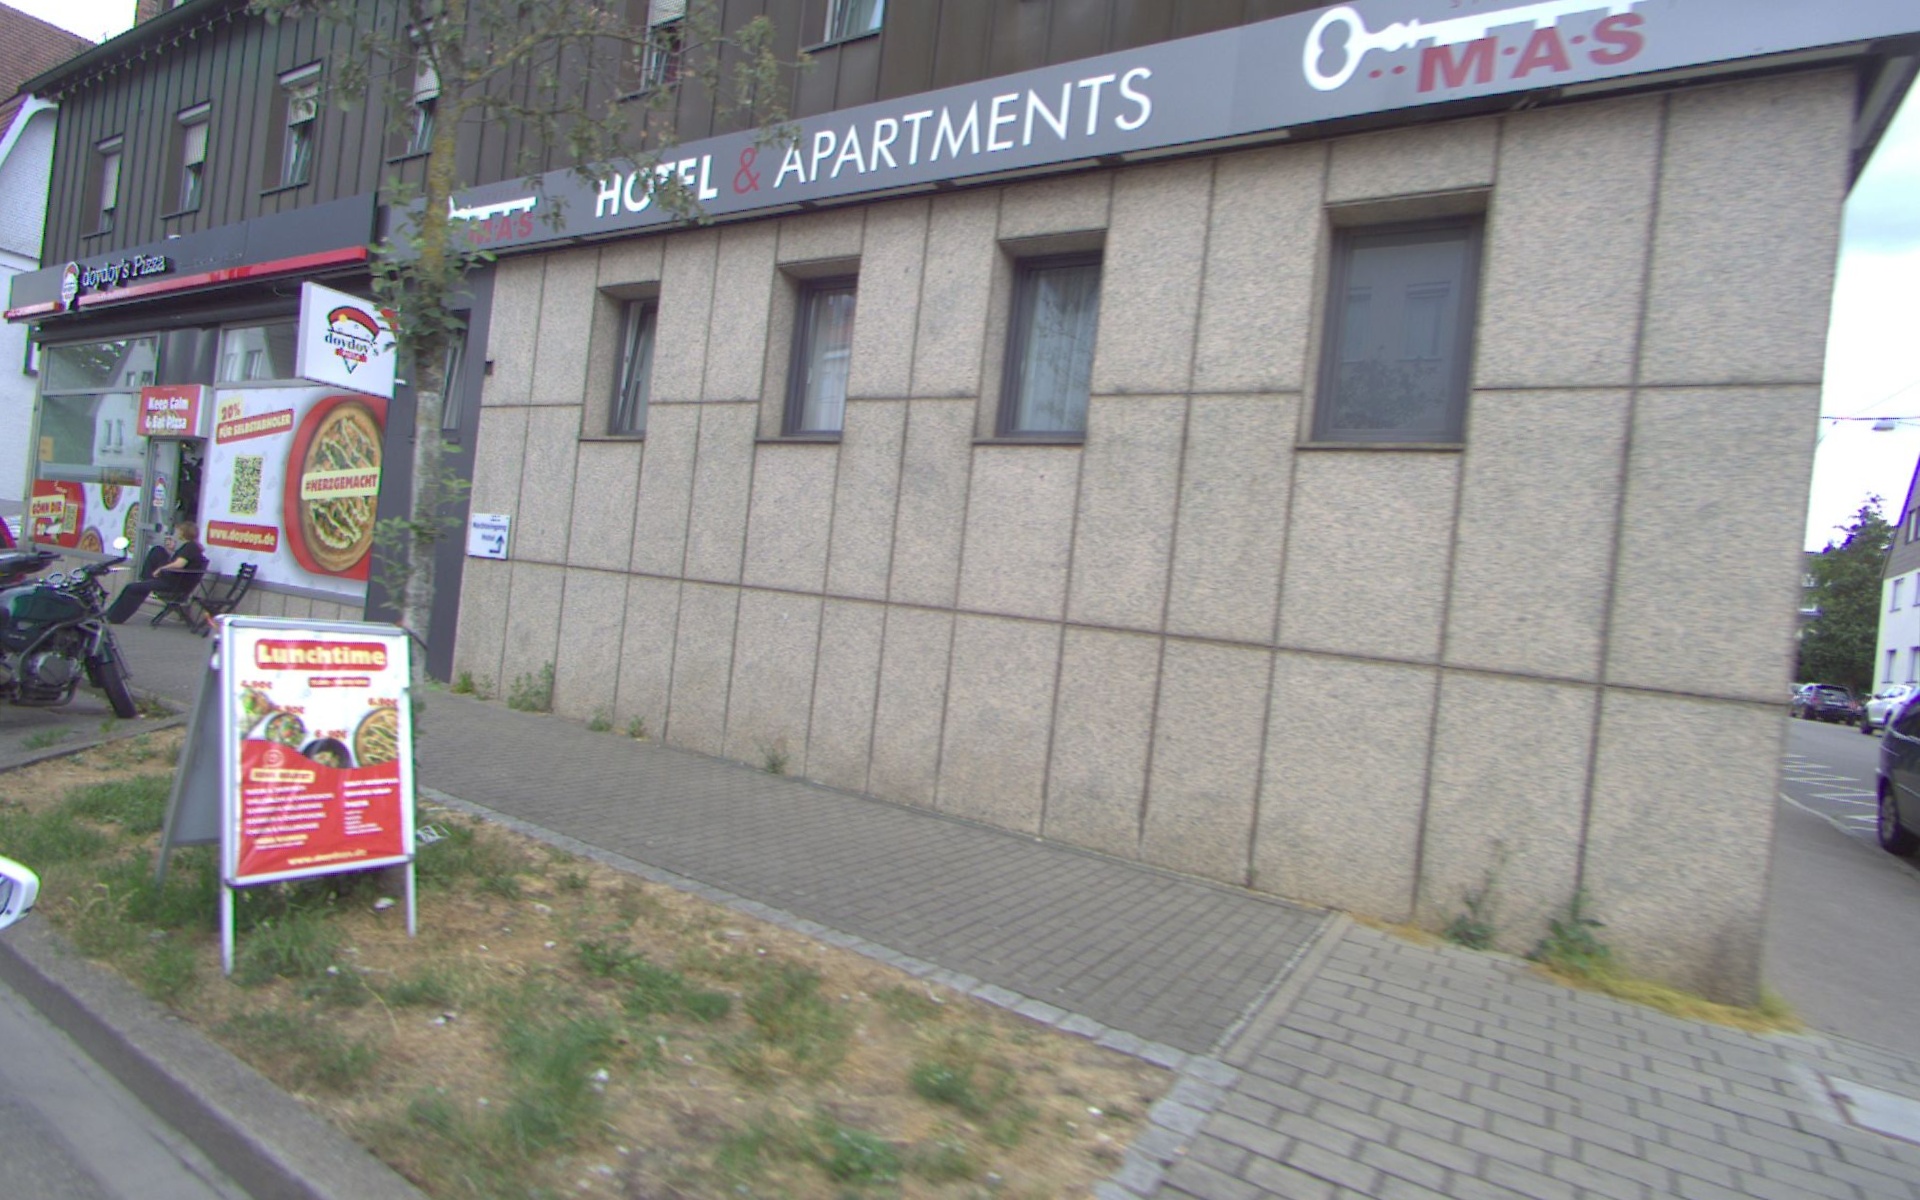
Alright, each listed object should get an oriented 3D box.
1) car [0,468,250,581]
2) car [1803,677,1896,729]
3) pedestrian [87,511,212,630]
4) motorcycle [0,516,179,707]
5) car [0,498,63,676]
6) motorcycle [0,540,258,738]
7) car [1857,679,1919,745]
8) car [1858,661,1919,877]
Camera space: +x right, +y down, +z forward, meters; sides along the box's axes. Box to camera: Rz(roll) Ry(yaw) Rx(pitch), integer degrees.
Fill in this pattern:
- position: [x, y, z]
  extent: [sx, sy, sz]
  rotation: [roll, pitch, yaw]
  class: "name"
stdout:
- position: [-17.127, -1.469, 20.437]
  extent: [1.660, 1.584, 3.988]
  rotation: [6, -2, 32]
  class: "car"
- position: [35.324, 4.109, 40.064]
  extent: [1.967, 1.724, 4.054]
  rotation: [6, -2, 32]
  class: "car"
- position: [-9.738, -0.351, 12.098]
  extent: [0.951, 1.318, 0.887]
  rotation: [6, 3, 32]
  class: "pedestrian"
- position: [-7.110, 0.051, 7.215]
  extent: [0.687, 1.351, 2.718]
  rotation: [7, -2, 2]
  class: "motorcycle"
- position: [-9.749, -0.332, 8.791]
  extent: [3.826, 1.446, 1.704]
  rotation: [6, -2, 31]
  class: "car"
- position: [-6.160, 0.238, 6.822]
  extent: [0.687, 1.197, 2.739]
  rotation: [7, -2, 2]
  class: "motorcycle"
- position: [28.290, 3.366, 29.654]
  extent: [1.935, 1.724, 4.034]
  rotation: [6, -2, 32]
  class: "car"
- position: [9.092, 1.515, 7.979]
  extent: [1.898, 1.890, 4.486]
  rotation: [4, -1, 29]
  class: "car"
